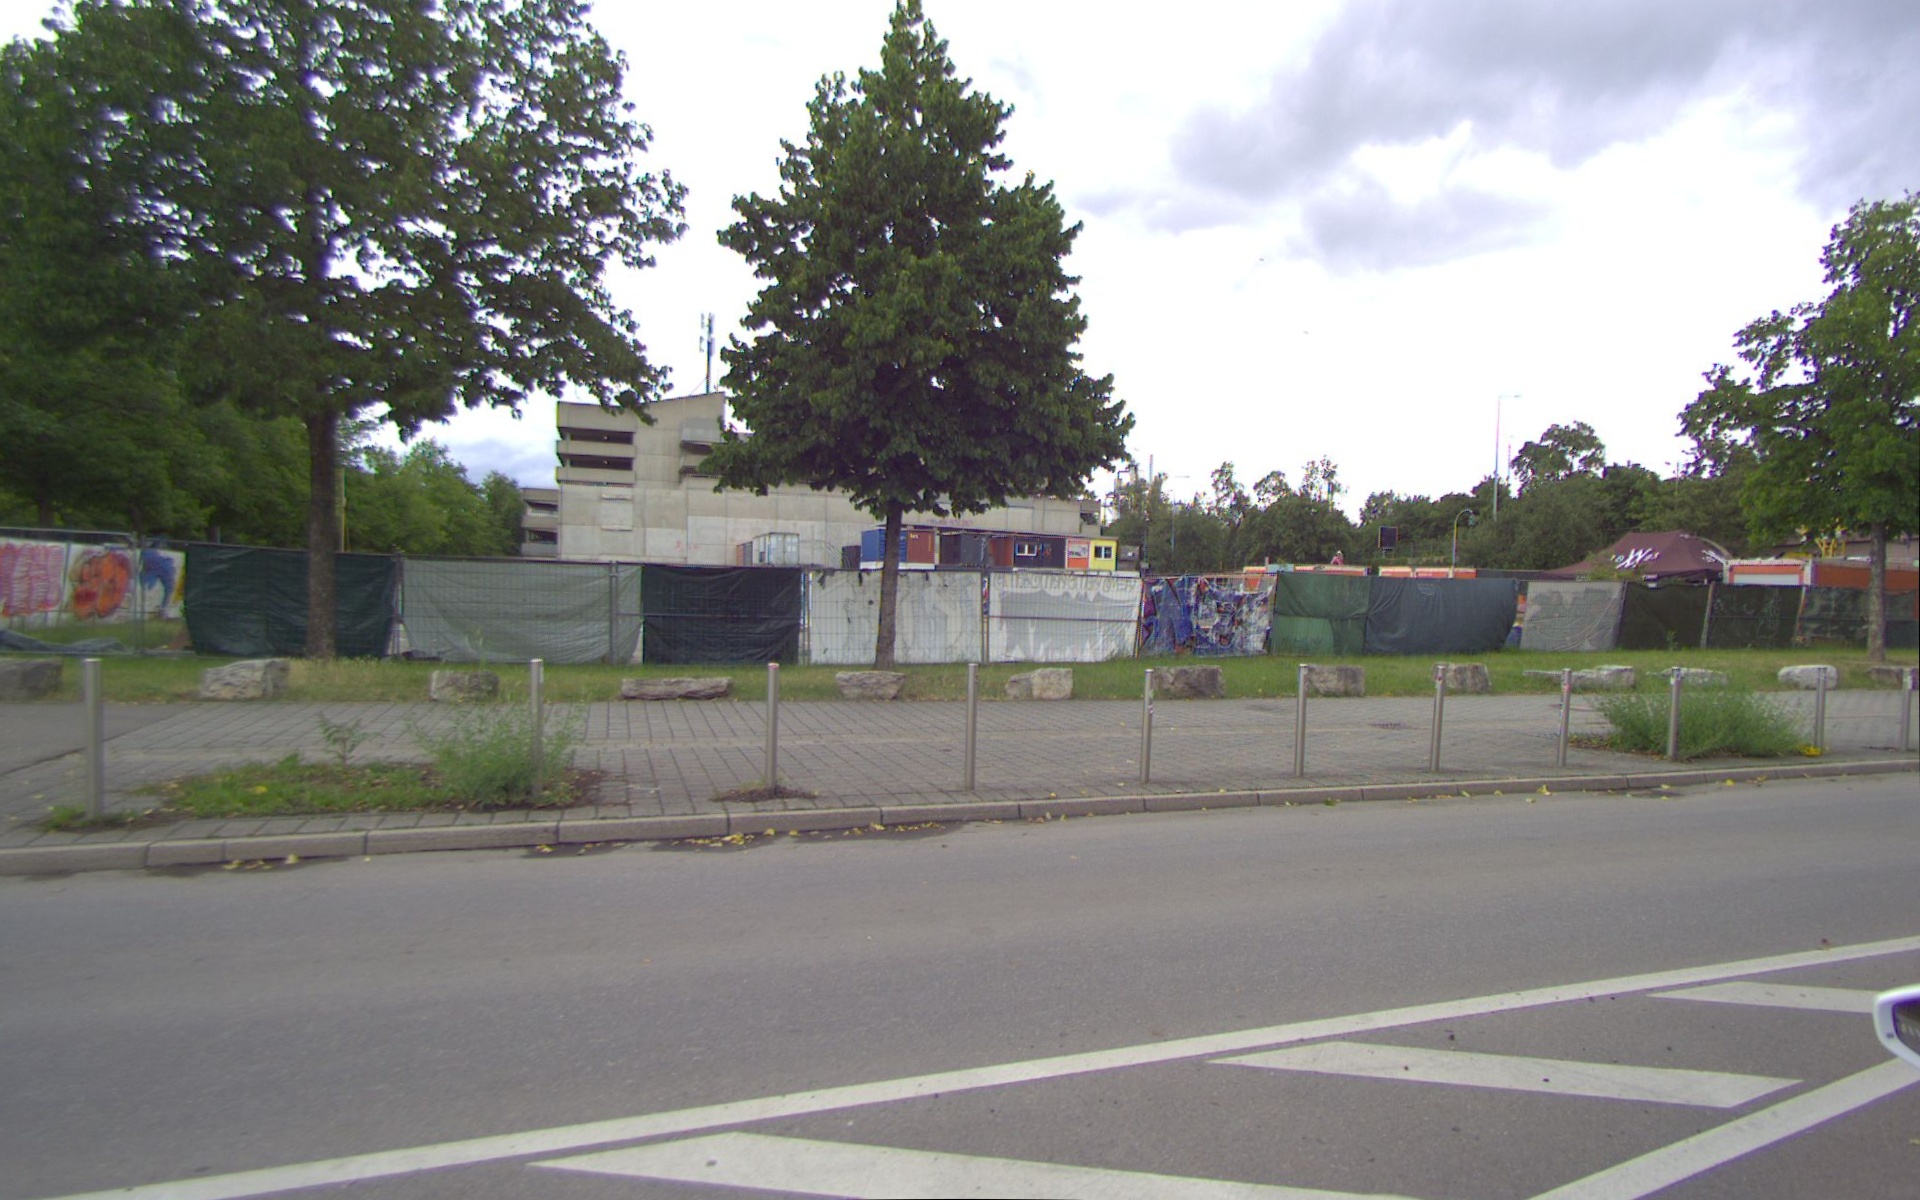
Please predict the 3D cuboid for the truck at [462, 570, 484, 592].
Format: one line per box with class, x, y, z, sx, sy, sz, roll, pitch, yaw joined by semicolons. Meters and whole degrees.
truck;-83.628;-3.209;172.542;2.641;3.606;7.885;-2;1;-20
